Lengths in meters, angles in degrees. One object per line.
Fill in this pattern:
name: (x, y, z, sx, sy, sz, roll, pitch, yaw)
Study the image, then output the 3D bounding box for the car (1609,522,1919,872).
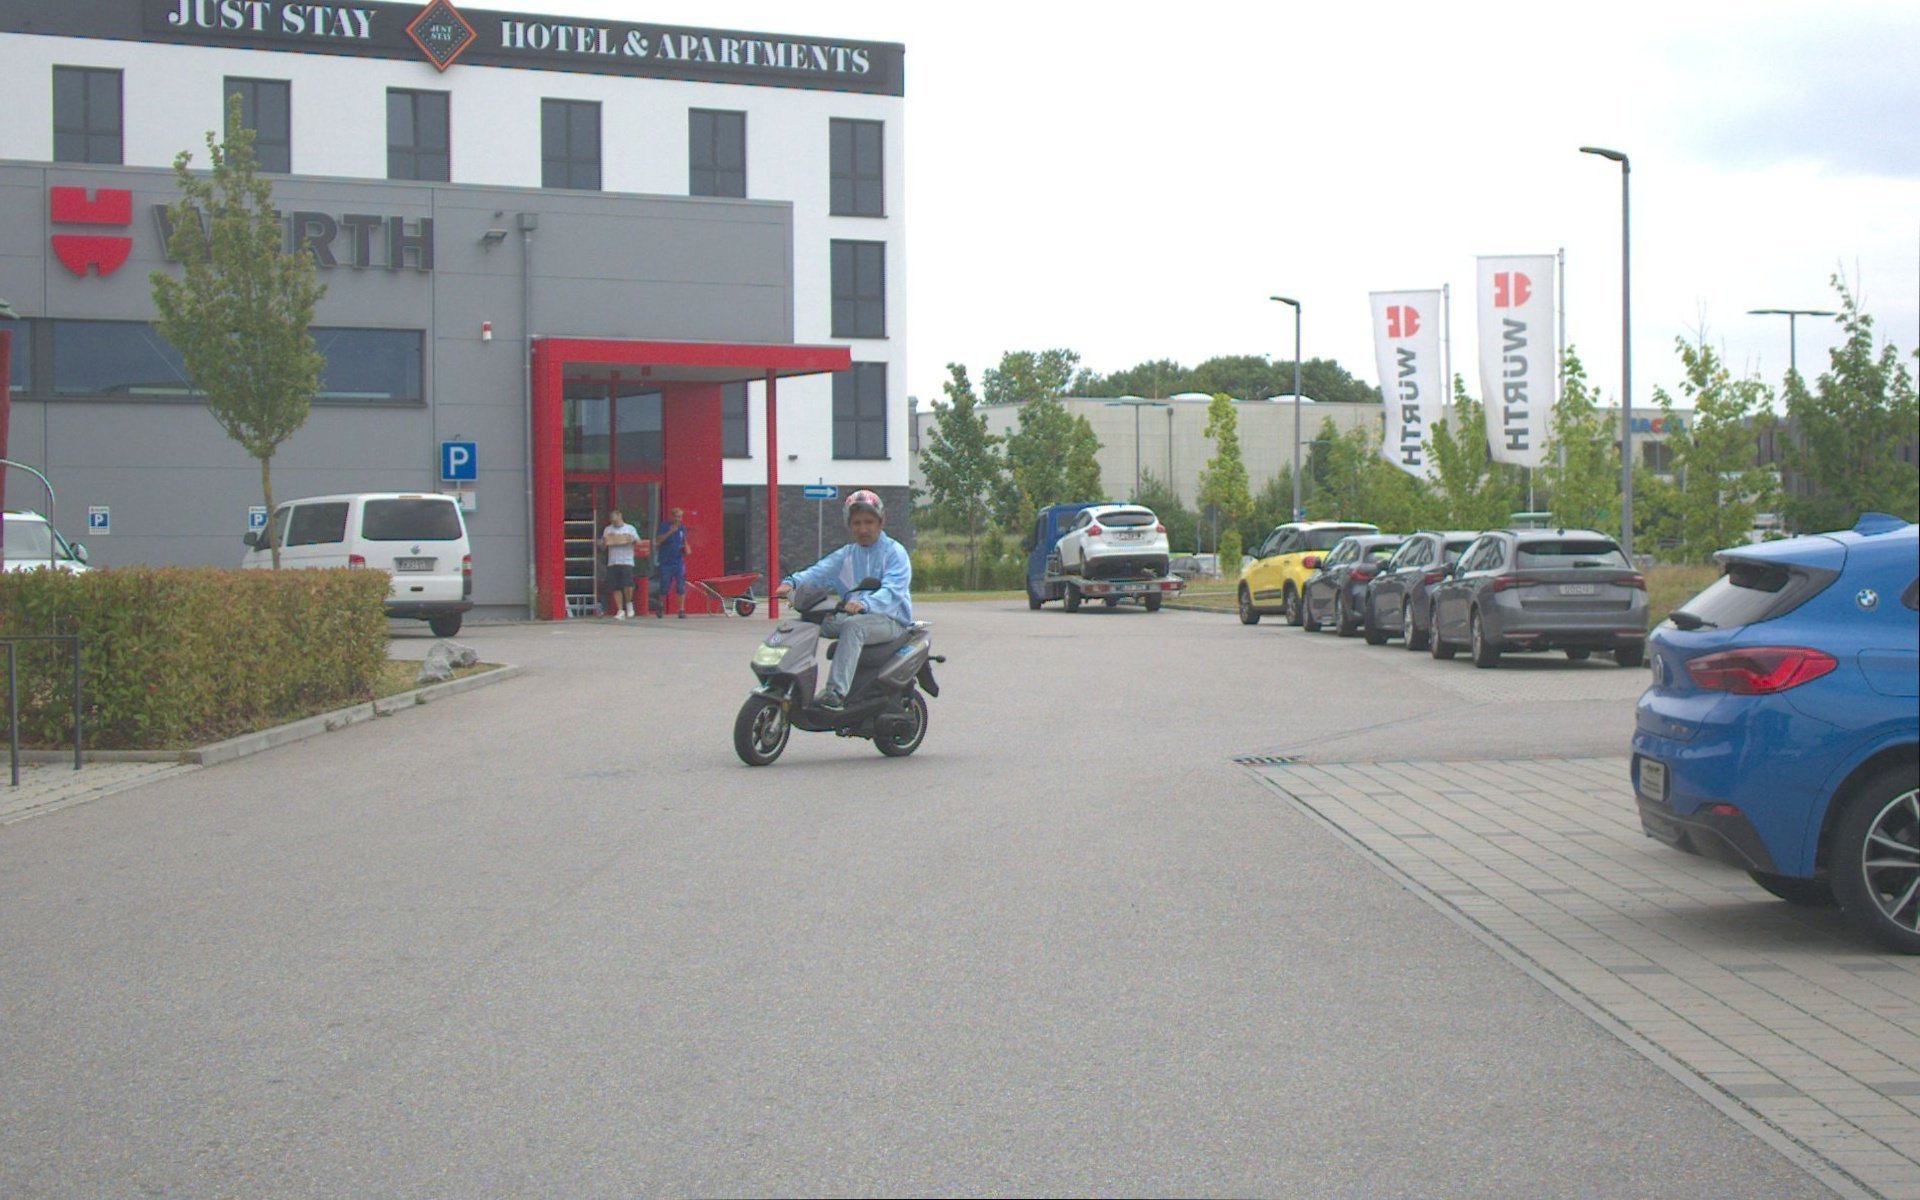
car: (5.115, 0.375, 15.501, 4.061, 1.454, 1.776, -1, 2, 2)

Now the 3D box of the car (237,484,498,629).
car: (-8.320, -0.594, 47.996, 2.055, 1.849, 4.061, -4, 2, -33)

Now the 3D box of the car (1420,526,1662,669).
car: (6.255, -0.065, 37.473, 1.751, 1.464, 4.476, 0, 1, -2)

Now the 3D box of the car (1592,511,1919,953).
car: (4.640, 0.442, 12.887, 4.202, 1.539, 1.865, 0, 1, 0)

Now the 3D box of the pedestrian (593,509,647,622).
pedestrian: (-5.296, -0.540, 53.551, 0.623, 1.745, 0.906, -1, 1, -20)

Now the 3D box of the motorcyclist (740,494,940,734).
motorcyclist: (-0.763, 0.079, 21.798, 0.939, 1.484, 0.830, -1, 1, -43)

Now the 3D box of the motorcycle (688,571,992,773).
motorcycle: (-0.742, 0.430, 21.780, 0.794, 1.204, 1.917, 0, 1, 43)

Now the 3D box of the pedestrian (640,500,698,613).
pedestrian: (-4.695, -0.700, 55.367, 0.676, 1.796, 0.880, -1, 1, -23)

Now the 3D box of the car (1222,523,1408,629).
car: (5.753, -0.394, 56.130, 1.856, 1.644, 4.001, 1, 0, -12)

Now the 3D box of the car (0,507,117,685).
car: (-9.930, -0.036, 34.301, 1.993, 1.645, 4.579, -2, 1, -26)

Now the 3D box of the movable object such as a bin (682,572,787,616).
movable object such as a bin: (-3.731, -0.101, 56.947, 1.488, 0.701, 0.965, 0, 0, -24)

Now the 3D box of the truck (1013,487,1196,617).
truck: (2.950, -0.931, 72.521, 2.331, 2.398, 7.897, 1, -2, -9)

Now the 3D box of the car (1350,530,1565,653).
car: (6.193, -0.139, 43.254, 1.751, 1.464, 4.477, 0, 1, -4)

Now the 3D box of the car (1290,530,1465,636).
car: (5.982, -0.274, 49.634, 1.751, 1.464, 4.108, 0, 1, -4)
